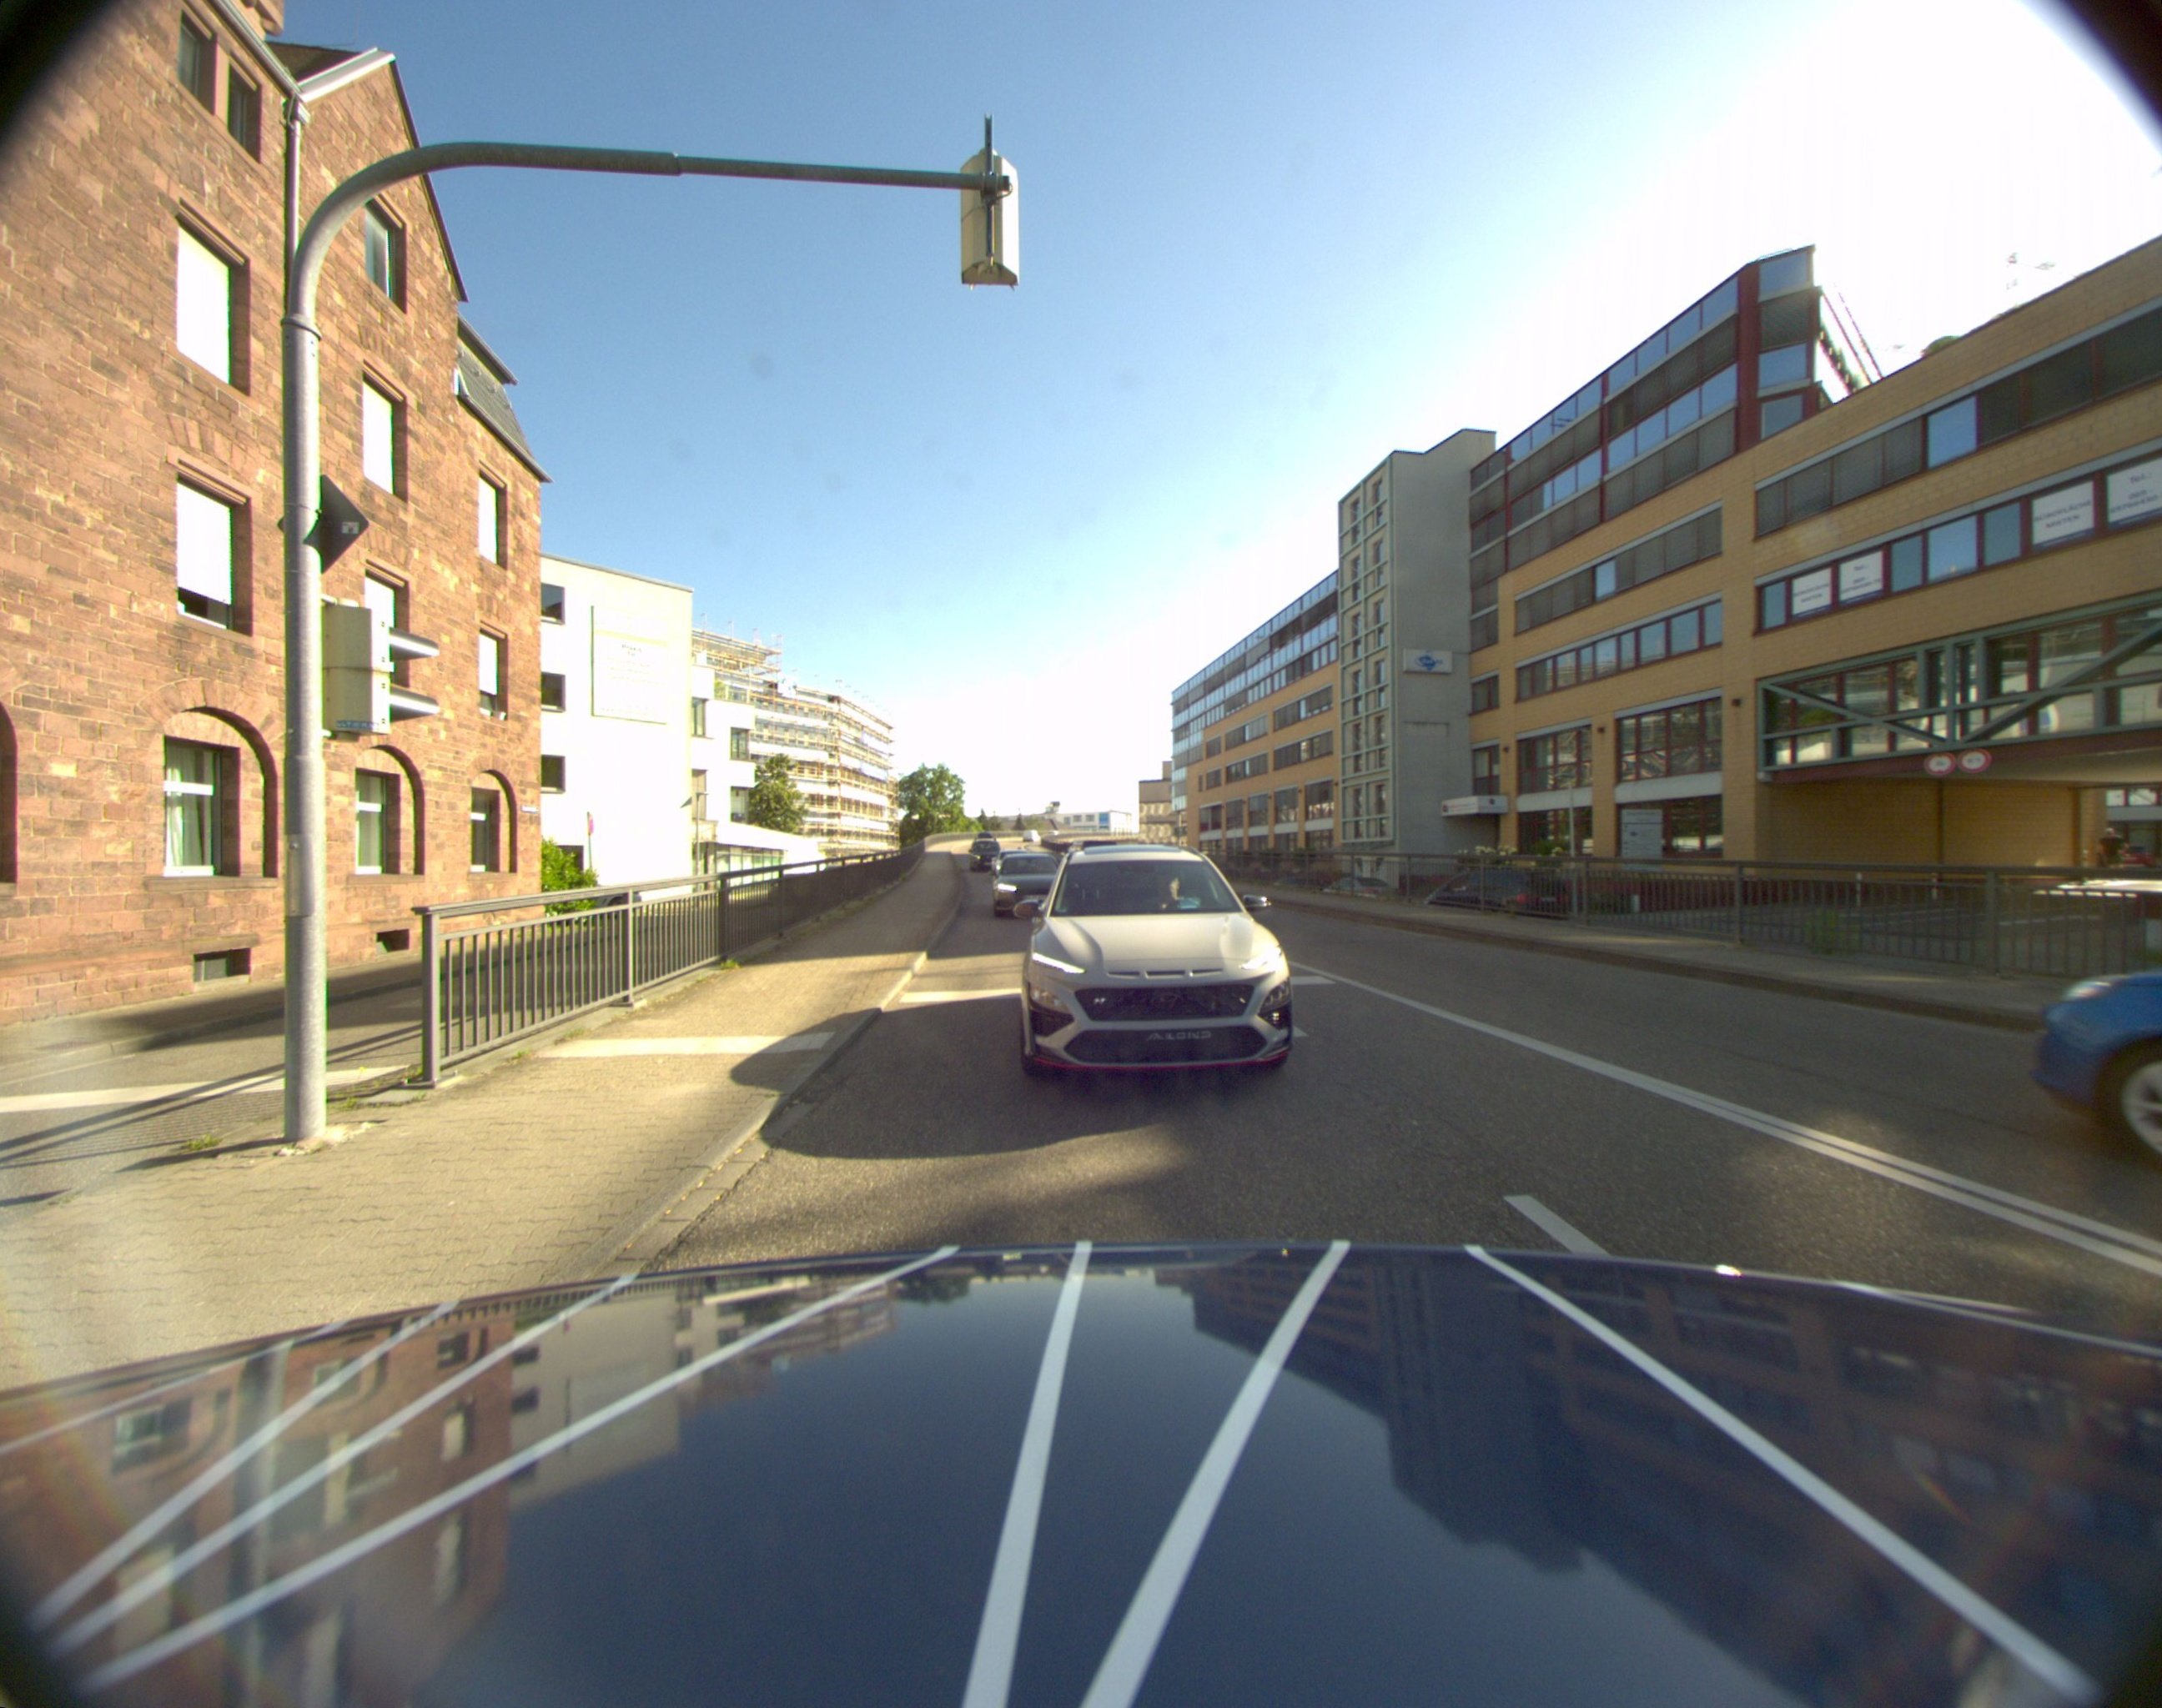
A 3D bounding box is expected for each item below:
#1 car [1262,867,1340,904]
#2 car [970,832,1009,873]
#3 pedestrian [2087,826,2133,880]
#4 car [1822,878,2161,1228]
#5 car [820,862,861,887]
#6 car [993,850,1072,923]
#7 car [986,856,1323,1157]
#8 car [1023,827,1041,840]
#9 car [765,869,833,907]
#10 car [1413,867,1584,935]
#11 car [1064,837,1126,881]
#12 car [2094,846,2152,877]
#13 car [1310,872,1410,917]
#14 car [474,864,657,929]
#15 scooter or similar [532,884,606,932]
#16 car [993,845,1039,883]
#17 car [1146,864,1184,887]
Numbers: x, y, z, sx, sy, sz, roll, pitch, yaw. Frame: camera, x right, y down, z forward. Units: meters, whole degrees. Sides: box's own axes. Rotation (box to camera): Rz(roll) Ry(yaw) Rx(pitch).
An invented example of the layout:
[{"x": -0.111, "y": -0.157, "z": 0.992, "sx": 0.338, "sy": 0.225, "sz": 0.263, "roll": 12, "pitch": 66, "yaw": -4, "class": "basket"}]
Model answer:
[{"x": 10.295, "y": 1.436, "z": 35.883, "sx": 1.826, "sy": 1.594, "sz": 4.353, "roll": 0, "pitch": 0, "yaw": -10, "class": "car"}, {"x": -5.444, "y": -0.161, "z": 44.787, "sx": 1.911, "sy": 2.202, "sz": 4.592, "roll": -1, "pitch": 2, "yaw": -11, "class": "car"}, {"x": 35.540, "y": -0.041, "z": 26.247, "sx": 0.787, "sy": 1.833, "sz": 0.678, "roll": 0, "pitch": 0, "yaw": -12, "class": "pedestrian"}, {"x": 5.747, "y": 0.886, "z": 2.595, "sx": 1.826, "sy": 1.494, "sz": 4.448, "roll": 0, "pitch": 0, "yaw": -7, "class": "car"}, {"x": -15.516, "y": 1.264, "z": 49.176, "sx": 1.850, "sy": 1.526, "sz": 3.997, "roll": 0, "pitch": 0, "yaw": -7, "class": "car"}, {"x": -1.285, "y": 0.709, "z": 18.897, "sx": 1.722, "sy": 1.483, "sz": 4.165, "roll": -1, "pitch": 2, "yaw": -6, "class": "car"}, {"x": 0.317, "y": 0.842, "z": 6.302, "sx": 1.849, "sy": 1.561, "sz": 4.219, "roll": -1, "pitch": 1, "yaw": -3, "class": "car"}, {"x": -7.699, "y": -3.193, "z": 119.644, "sx": 1.813, "sy": 1.791, "sz": 5.124, "roll": 0, "pitch": 0, "yaw": 8, "class": "car"}, {"x": -13.035, "y": 1.512, "z": 35.429, "sx": 1.850, "sy": 1.422, "sz": 4.678, "roll": -1, "pitch": 2, "yaw": -6, "class": "car"}, {"x": 12.413, "y": 1.310, "z": 23.018, "sx": 1.957, "sy": 1.747, "sz": 4.683, "roll": -1, "pitch": 0, "yaw": -11, "class": "car"}, {"x": 0.567, "y": 0.244, "z": 35.741, "sx": 2.000, "sy": 1.924, "sz": 4.847, "roll": 0, "pitch": 0, "yaw": -10, "class": "car"}, {"x": 53.707, "y": 0.395, "z": 39.206, "sx": 3.159, "sy": 1.564, "sz": 1.639, "roll": 0, "pitch": -1, "yaw": -38, "class": "car"}, {"x": 11.094, "y": 1.572, "z": 30.600, "sx": 1.826, "sy": 1.594, "sz": 4.353, "roll": 0, "pitch": 0, "yaw": -10, "class": "car"}, {"x": -16.971, "y": 1.316, "z": 25.221, "sx": 1.823, "sy": 1.757, "sz": 4.658, "roll": 1, "pitch": 2, "yaw": 42, "class": "car"}, {"x": -14.265, "y": 1.484, "z": 21.206, "sx": 1.463, "sy": 1.212, "sz": 0.784, "roll": -3, "pitch": 1, "yaw": -14, "class": "scooter or similar"}, {"x": -3.035, "y": 0.397, "z": 34.677, "sx": 1.850, "sy": 1.527, "sz": 4.503, "roll": -1, "pitch": 2, "yaw": -8, "class": "car"}, {"x": 6.391, "y": 1.626, "z": 57.968, "sx": 2.000, "sy": 1.652, "sz": 3.997, "roll": 0, "pitch": 0, "yaw": -7, "class": "car"}]
